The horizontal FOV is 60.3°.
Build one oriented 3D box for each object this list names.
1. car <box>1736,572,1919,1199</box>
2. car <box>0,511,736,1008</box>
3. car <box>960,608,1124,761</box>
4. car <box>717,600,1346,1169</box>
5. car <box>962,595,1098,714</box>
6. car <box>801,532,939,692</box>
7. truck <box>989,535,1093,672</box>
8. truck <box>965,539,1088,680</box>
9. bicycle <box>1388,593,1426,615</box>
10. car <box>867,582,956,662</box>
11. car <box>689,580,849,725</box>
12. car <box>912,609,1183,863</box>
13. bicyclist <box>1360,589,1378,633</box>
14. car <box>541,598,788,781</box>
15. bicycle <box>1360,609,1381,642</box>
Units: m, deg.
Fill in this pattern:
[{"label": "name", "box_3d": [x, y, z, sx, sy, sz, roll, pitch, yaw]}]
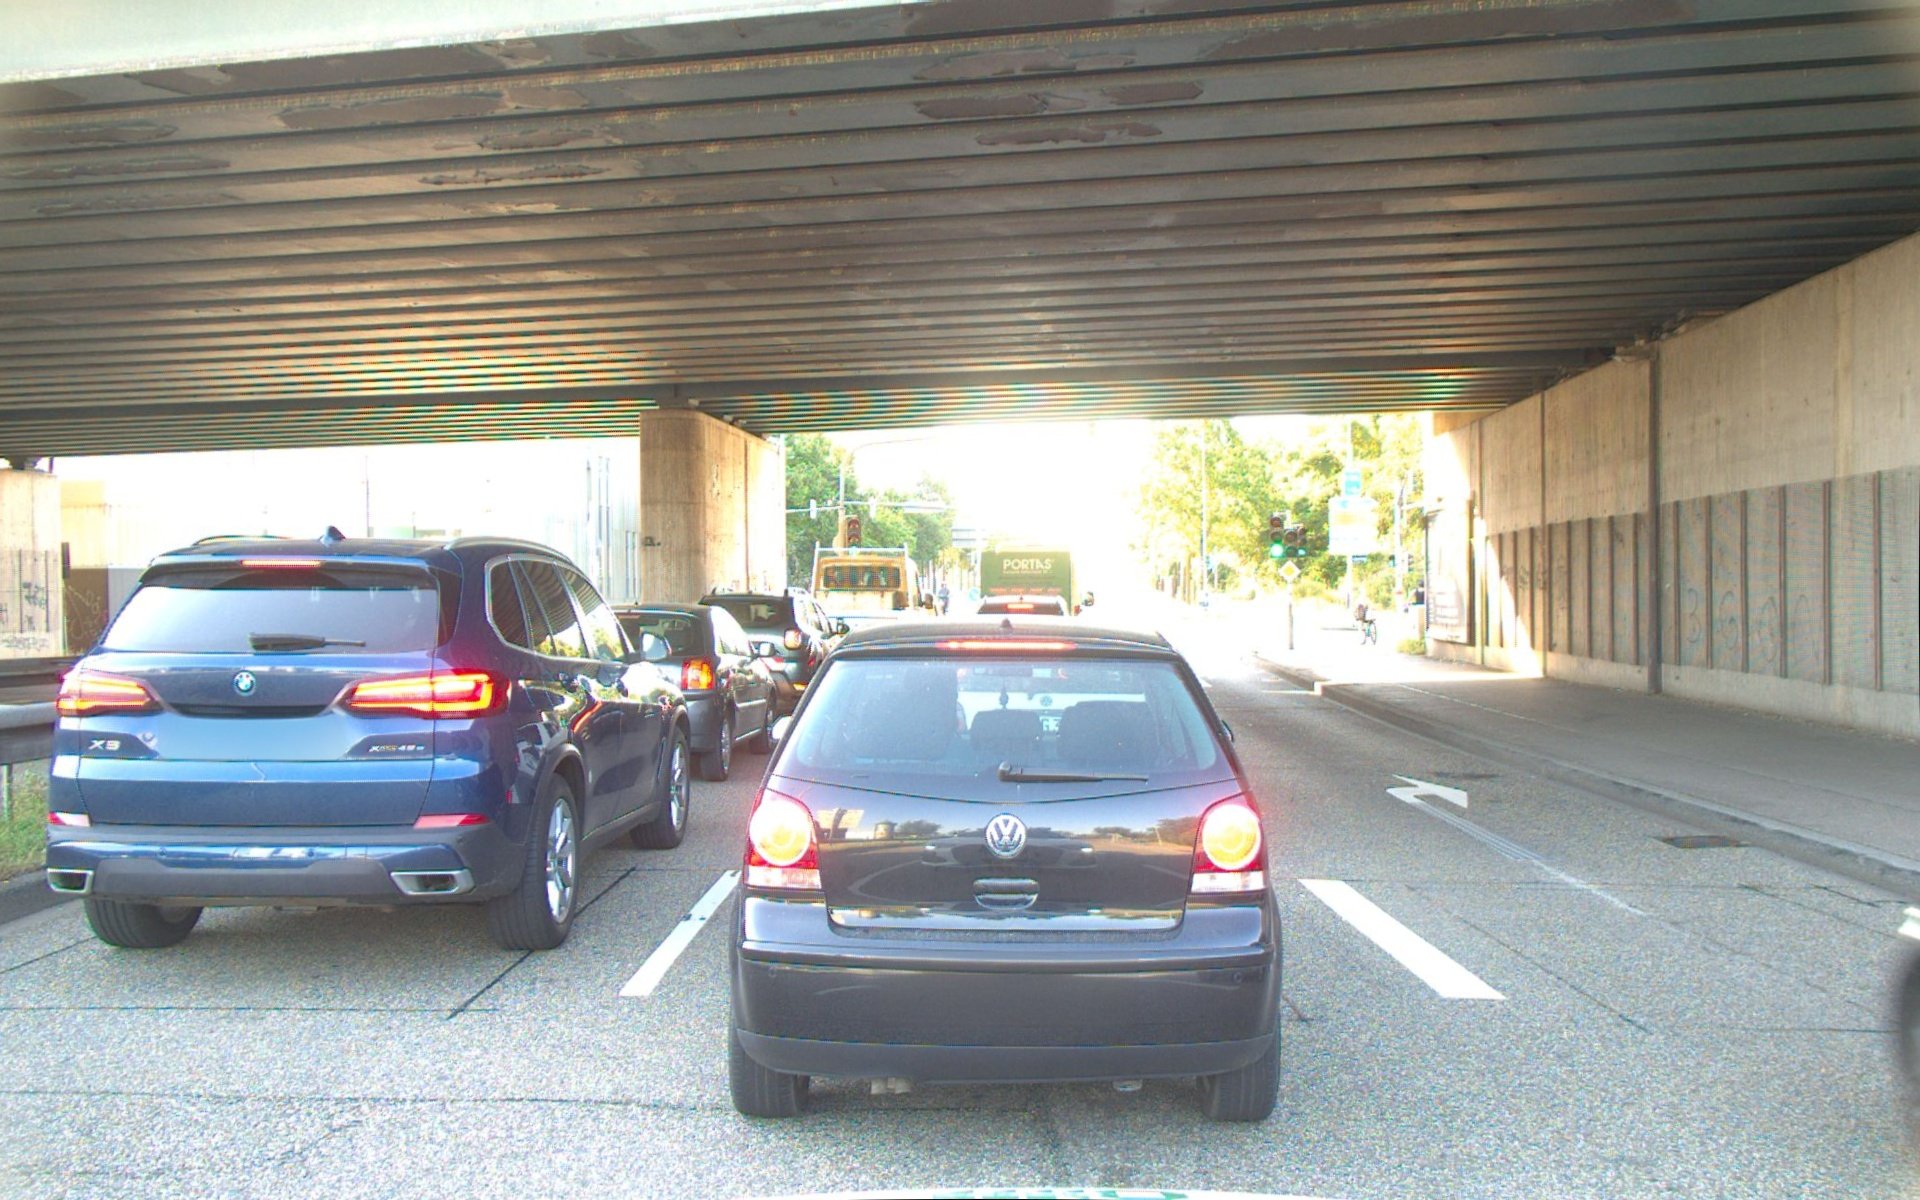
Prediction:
[{"label": "car", "box_3d": [3.427, 0.766, 3.318, 1.702, 1.659, 4.060, 1, 0, -2]}, {"label": "car", "box_3d": [-2.520, 0.581, 8.269, 1.952, 1.764, 4.534, 1, 0, 3]}, {"label": "car", "box_3d": [0.804, 0.815, 17.823, 1.546, 1.438, 4.062, 1, 0, 1]}, {"label": "car", "box_3d": [0.125, 0.736, 6.051, 1.584, 1.434, 3.681, 1, 0, -2]}, {"label": "car", "box_3d": [1.117, 0.757, 24.594, 1.758, 1.586, 4.003, 1, 0, 6]}, {"label": "car", "box_3d": [-1.531, 0.210, 29.962, 2.092, 2.621, 5.087, 1, 0, 1]}, {"label": "truck", "box_3d": [1.783, 0.077, 35.112, 1.954, 2.715, 4.003, 1, 0, 6]}, {"label": "truck", "box_3d": [1.275, 0.174, 30.066, 1.954, 2.356, 4.003, 1, 0, 6]}, {"label": "bicycle", "box_3d": [20.926, 0.185, 77.419, 1.628, 1.008, 0.578, -1, 3, 23]}, {"label": "car", "box_3d": [-1.060, 0.477, 37.686, 1.582, 1.709, 3.685, 1, 0, 5]}, {"label": "car", "box_3d": [-2.420, 0.639, 21.760, 1.583, 1.709, 3.683, 1, 0, 1]}, {"label": "car", "box_3d": [0.529, 0.797, 11.607, 1.546, 1.438, 4.062, 1, 0, 1]}, {"label": "bicyclist", "box_3d": [11.971, 0.321, 48.402, 0.418, 1.254, 0.460, -1, -1, 6]}, {"label": "car", "box_3d": [-2.552, 0.725, 15.040, 1.583, 1.434, 3.682, 1, 0, -1]}, {"label": "bicycle", "box_3d": [11.971, 0.748, 48.291, 0.428, 0.930, 1.027, -2, -1, 6]}]
